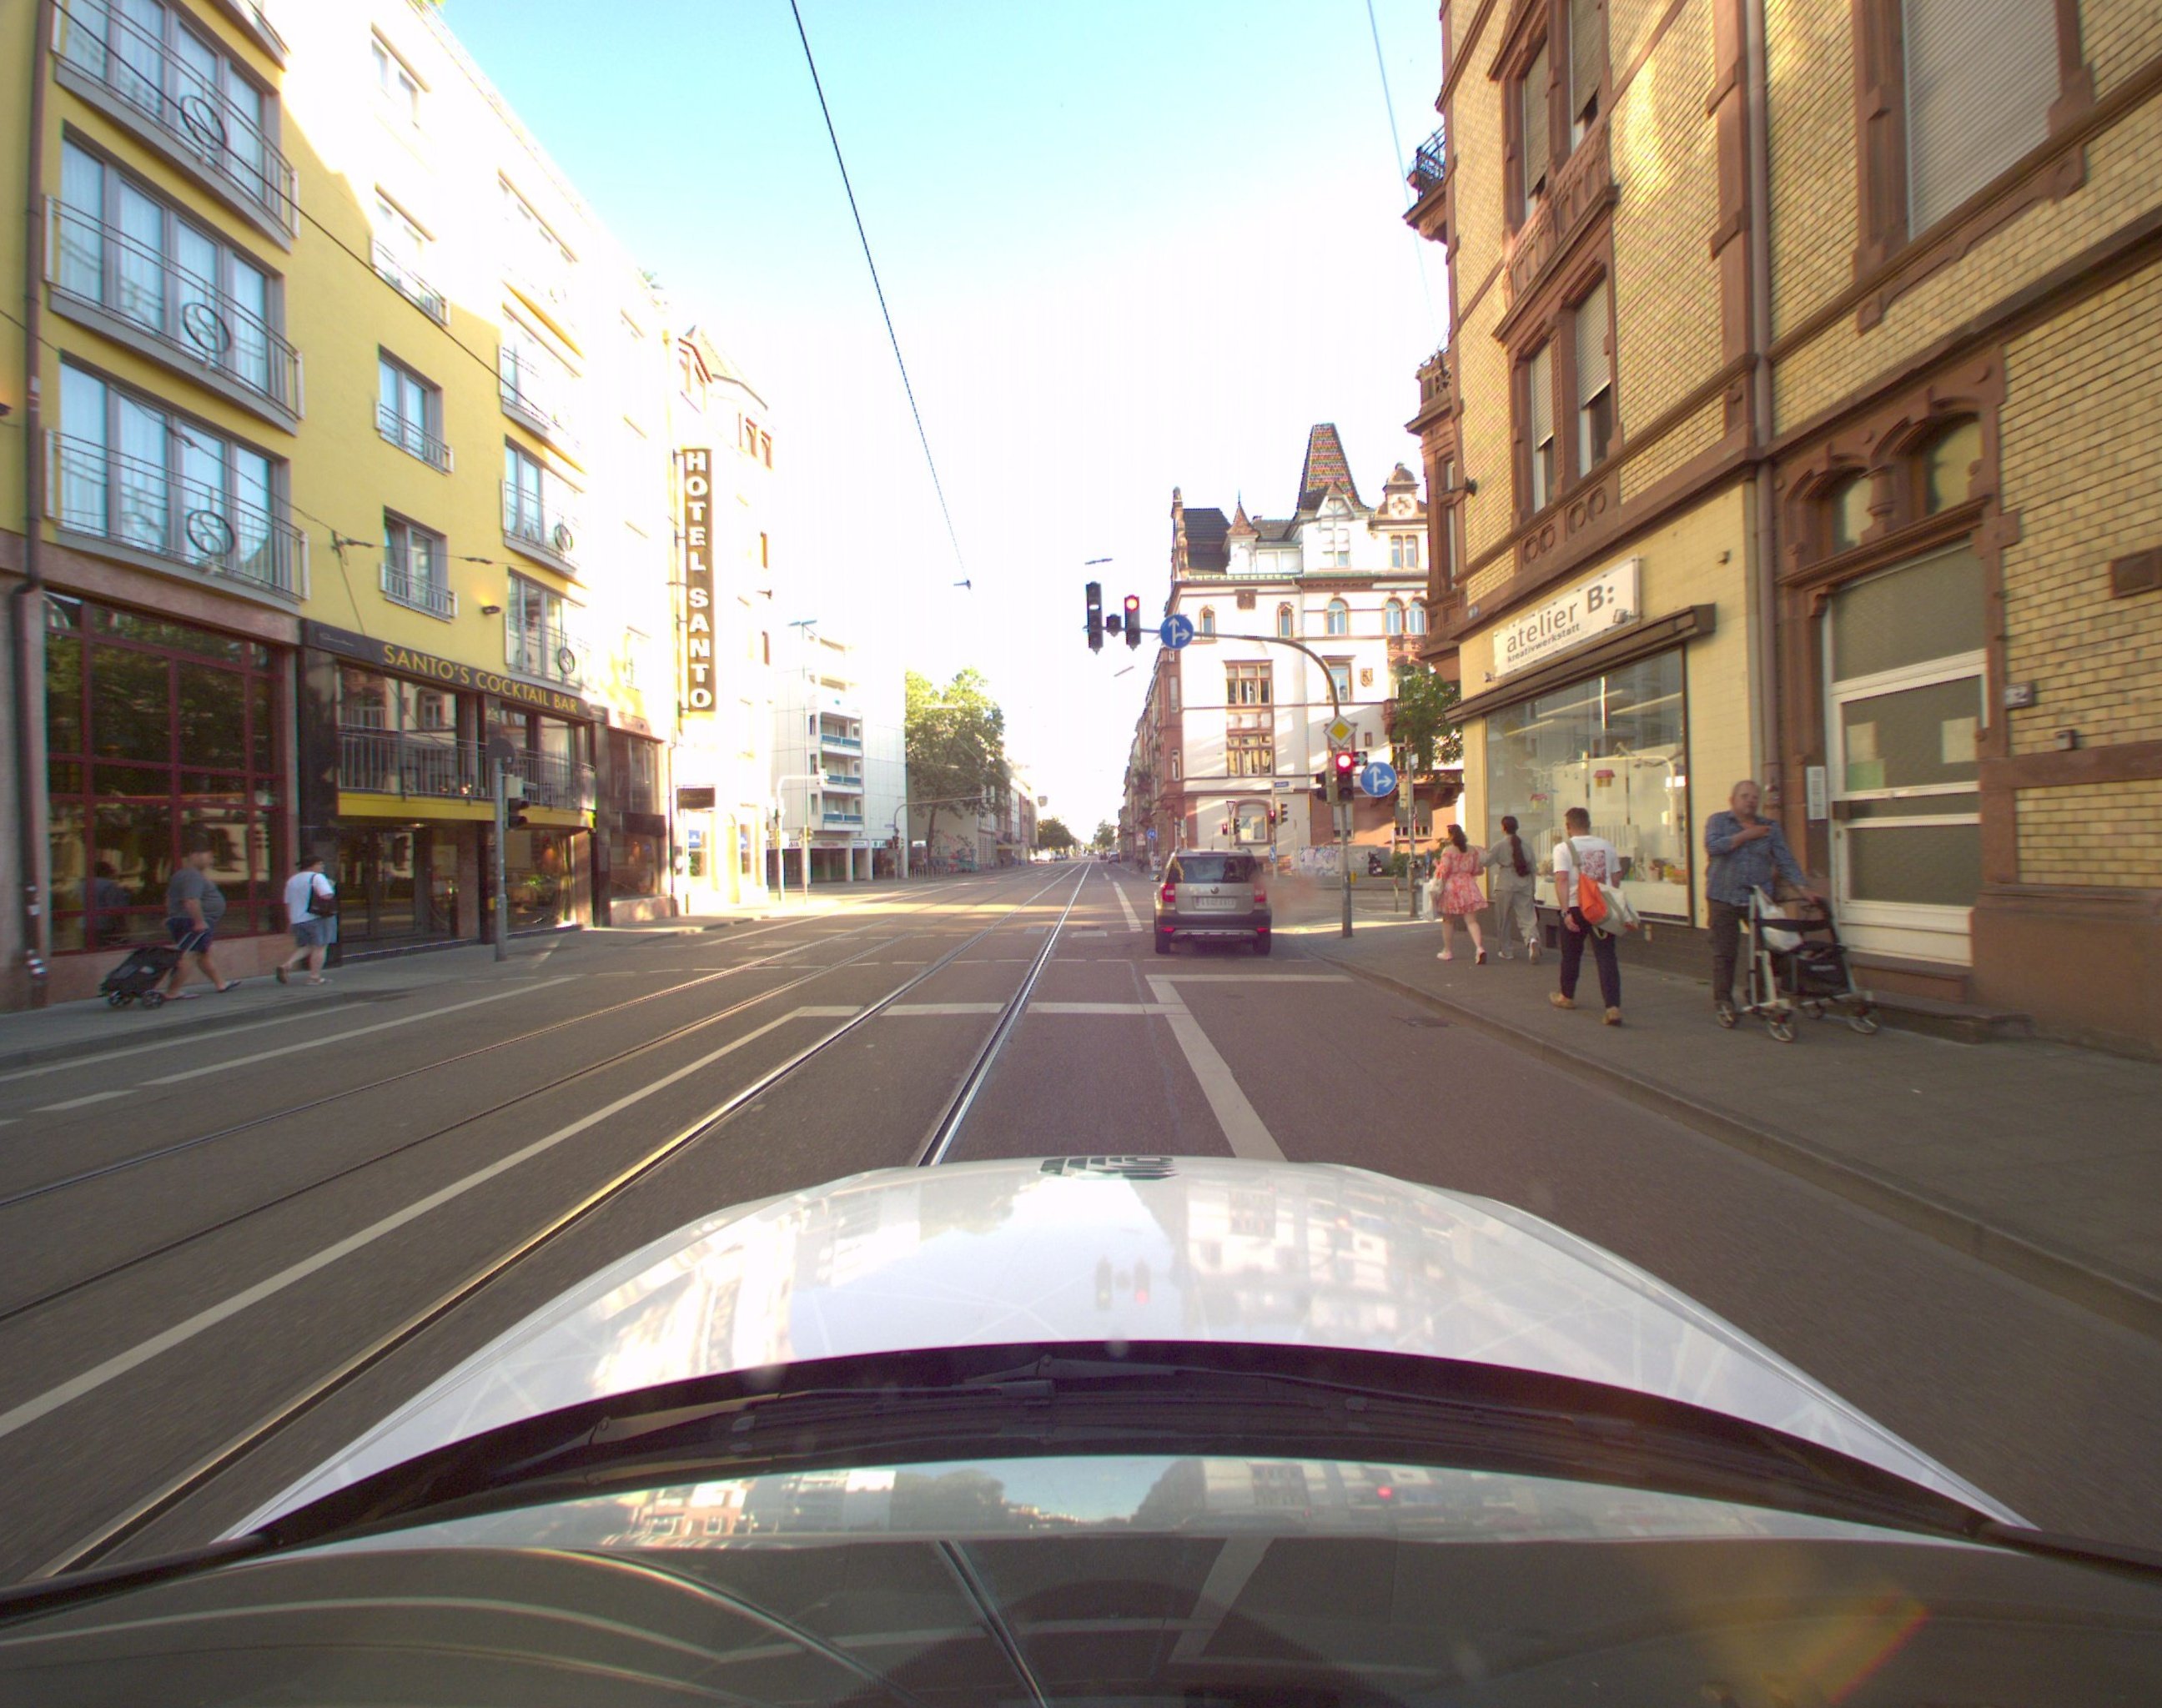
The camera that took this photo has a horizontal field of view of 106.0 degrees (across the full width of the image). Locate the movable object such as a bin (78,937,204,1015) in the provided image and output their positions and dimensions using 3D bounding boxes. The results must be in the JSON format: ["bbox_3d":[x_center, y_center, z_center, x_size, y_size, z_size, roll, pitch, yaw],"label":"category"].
[{"bbox_3d":[-10.519,1.351,9.138,0.381,0.716,0.841,3,0,2],"label":"movable object such as a bin"}]

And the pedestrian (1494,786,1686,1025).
[{"bbox_3d":[4.247,0.397,6.895,0.803,1.800,1.091,-5,0,-1],"label":"pedestrian"}]

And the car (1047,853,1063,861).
[{"bbox_3d":[-6.919,0.748,216.378,4.005,2.014,1.984,-1,0,-24],"label":"car"}]

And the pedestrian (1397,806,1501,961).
[{"bbox_3d":[4.577,0.350,10.170,0.803,1.800,0.761,-5,0,-1],"label":"pedestrian"}]

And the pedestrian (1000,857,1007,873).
[{"bbox_3d":[-8.838,1.250,92.367,0.698,1.728,0.648,-1,0,1],"label":"pedestrian"}]

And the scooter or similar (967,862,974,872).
[{"bbox_3d":[-11.116,1.301,81.766,0.515,1.057,1.478,-1,0,-1],"label":"scooter or similar"}]

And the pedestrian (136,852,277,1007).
[{"bbox_3d":[-10.662,0.890,9.958,0.795,1.771,0.749,3,0,1],"label":"pedestrian"}]

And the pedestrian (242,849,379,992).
[{"bbox_3d":[-10.436,0.856,11.071,0.749,1.818,1.046,3,0,1],"label":"pedestrian"}]

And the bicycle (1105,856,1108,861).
[{"bbox_3d":[5.007,0.874,157.629,0.573,1.030,1.896,-1,0,2],"label":"bicycle"}]

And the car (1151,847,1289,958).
[{"bbox_3d":[2.219,0.710,13.907,1.984,1.618,4.006,0,0,5],"label":"car"}]

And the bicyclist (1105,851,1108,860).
[{"bbox_3d":[4.993,0.287,157.628,0.573,1.554,0.595,-1,-1,2],"label":"bicyclist"}]

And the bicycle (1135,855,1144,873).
[{"bbox_3d":[4.389,0.727,61.076,0.650,1.323,2.178,-1,0,4],"label":"bicycle"}]

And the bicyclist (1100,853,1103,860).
[{"bbox_3d":[4.734,0.550,188.518,0.573,1.452,0.645,-1,0,2],"label":"bicyclist"}]

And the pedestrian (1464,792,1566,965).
[{"bbox_3d":[5.105,0.276,9.620,0.688,1.908,0.670,-5,0,-1],"label":"pedestrian"}]

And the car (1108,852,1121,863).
[{"bbox_3d":[5.340,0.621,130.436,1.942,1.684,4.002,-1,0,2],"label":"car"}]

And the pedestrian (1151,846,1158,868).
[{"bbox_3d":[5.883,0.232,65.242,0.542,1.780,0.504,-1,-1,2],"label":"pedestrian"}]

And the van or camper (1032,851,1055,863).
[{"bbox_3d":[-8.231,0.650,180.421,4.664,2.563,1.981,0,-1,-30],"label":"van or camper"}]

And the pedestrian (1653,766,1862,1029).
[{"bbox_3d":[5.057,0.306,6.144,0.802,1.800,0.762,-5,0,1],"label":"pedestrian"}]

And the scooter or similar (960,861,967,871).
[{"bbox_3d":[-11.789,1.186,81.737,0.515,1.045,1.478,-1,0,-1],"label":"scooter or similar"}]

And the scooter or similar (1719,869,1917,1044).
[{"bbox_3d":[5.074,0.682,5.645,0.802,1.070,0.521,-6,0,1],"label":"scooter or similar"}]

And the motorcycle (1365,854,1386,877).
[{"bbox_3d":[14.681,0.573,40.671,0.714,1.020,2.295,-1,2,13],"label":"motorcycle"}]

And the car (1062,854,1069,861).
[{"bbox_3d":[-4.577,0.972,242.304,1.987,2.013,4.000,-1,0,0],"label":"car"}]

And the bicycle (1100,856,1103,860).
[{"bbox_3d":[4.746,0.879,188.520,0.573,1.030,1.896,-1,0,2],"label":"bicycle"}]
